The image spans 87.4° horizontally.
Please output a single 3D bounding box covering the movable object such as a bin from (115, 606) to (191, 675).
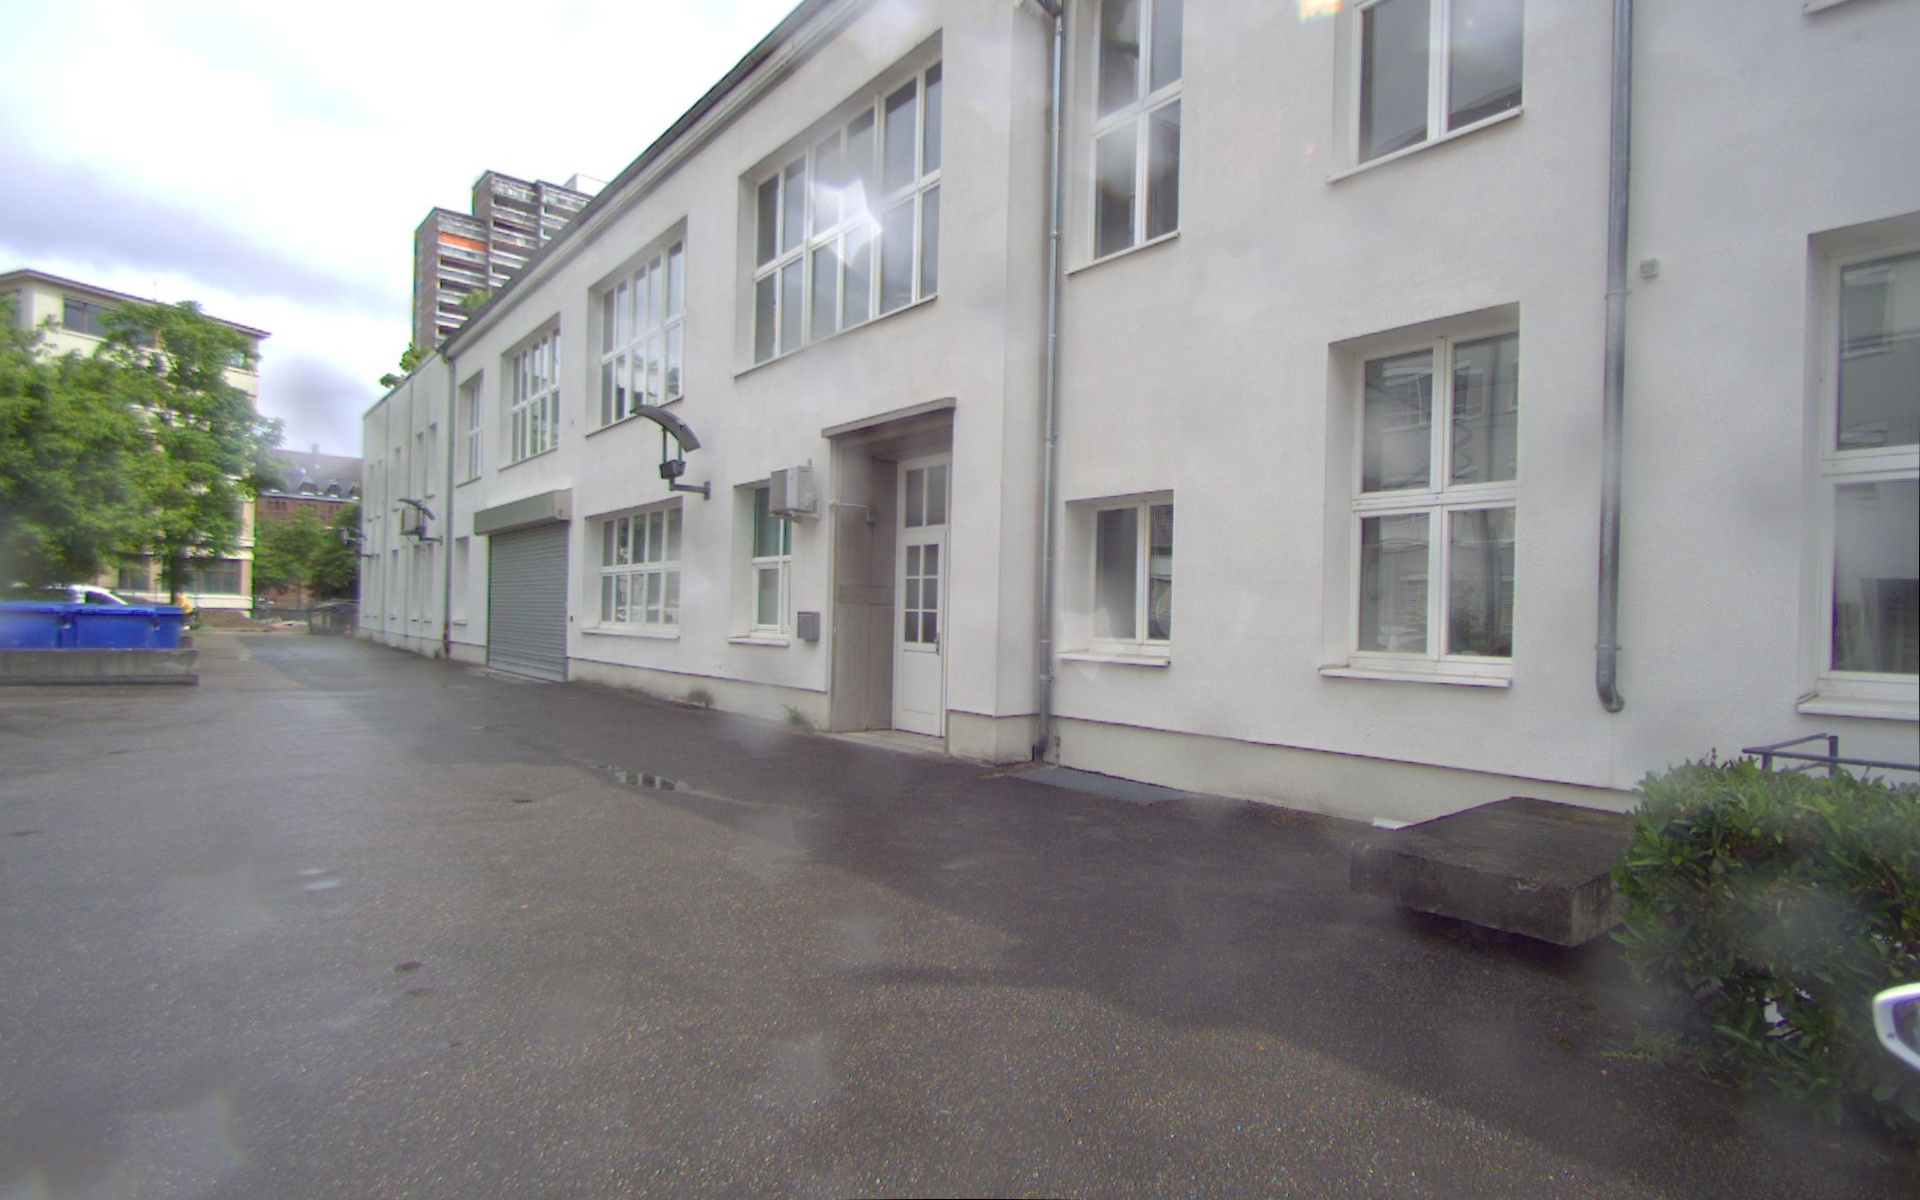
[{"bbox_3d":[-16.551,0.820,20.642,1.120,1.346,1.196,1,0,-36],"label":"movable object such as a bin"}]

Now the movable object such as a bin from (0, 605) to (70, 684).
[{"bbox_3d":[-16.874,0.784,18.098,1.120,1.346,1.196,1,0,-36],"label":"movable object such as a bin"}]

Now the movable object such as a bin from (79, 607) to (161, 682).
[{"bbox_3d":[-15.831,0.820,18.968,1.085,1.343,1.196,1,0,-36],"label":"movable object such as a bin"}]

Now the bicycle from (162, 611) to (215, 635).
[{"bbox_3d":[-34.133,1.004,44.447,0.657,0.994,1.879,1,0,11],"label":"bicycle"}]

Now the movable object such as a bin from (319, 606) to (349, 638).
[{"bbox_3d":[-27.915,0.968,44.786,1.036,1.374,1.195,1,0,-35],"label":"movable object such as a bin"}]

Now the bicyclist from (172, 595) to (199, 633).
[{"bbox_3d":[-34.153,0.617,44.307,0.654,1.672,0.651,1,0,11],"label":"bicyclist"}]

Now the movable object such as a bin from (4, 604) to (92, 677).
[{"bbox_3d":[-17.729,0.770,19.568,1.120,1.346,1.196,1,0,-36],"label":"movable object such as a bin"}]

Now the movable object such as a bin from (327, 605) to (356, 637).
[{"bbox_3d":[-26.771,0.908,43.475,0.969,1.374,0.910,1,0,-36],"label":"movable object such as a bin"}]

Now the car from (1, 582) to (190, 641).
[{"bbox_3d":[-27.031,0.382,31.632,4.290,1.750,1.706,2,0,-34],"label":"car"}]

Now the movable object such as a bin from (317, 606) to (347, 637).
[{"bbox_3d":[-28.703,0.989,45.899,1.053,1.374,1.206,1,0,-35],"label":"movable object such as a bin"}]

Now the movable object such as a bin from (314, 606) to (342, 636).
[{"bbox_3d":[-29.661,0.971,47.135,1.056,1.374,1.252,1,0,-35],"label":"movable object such as a bin"}]
